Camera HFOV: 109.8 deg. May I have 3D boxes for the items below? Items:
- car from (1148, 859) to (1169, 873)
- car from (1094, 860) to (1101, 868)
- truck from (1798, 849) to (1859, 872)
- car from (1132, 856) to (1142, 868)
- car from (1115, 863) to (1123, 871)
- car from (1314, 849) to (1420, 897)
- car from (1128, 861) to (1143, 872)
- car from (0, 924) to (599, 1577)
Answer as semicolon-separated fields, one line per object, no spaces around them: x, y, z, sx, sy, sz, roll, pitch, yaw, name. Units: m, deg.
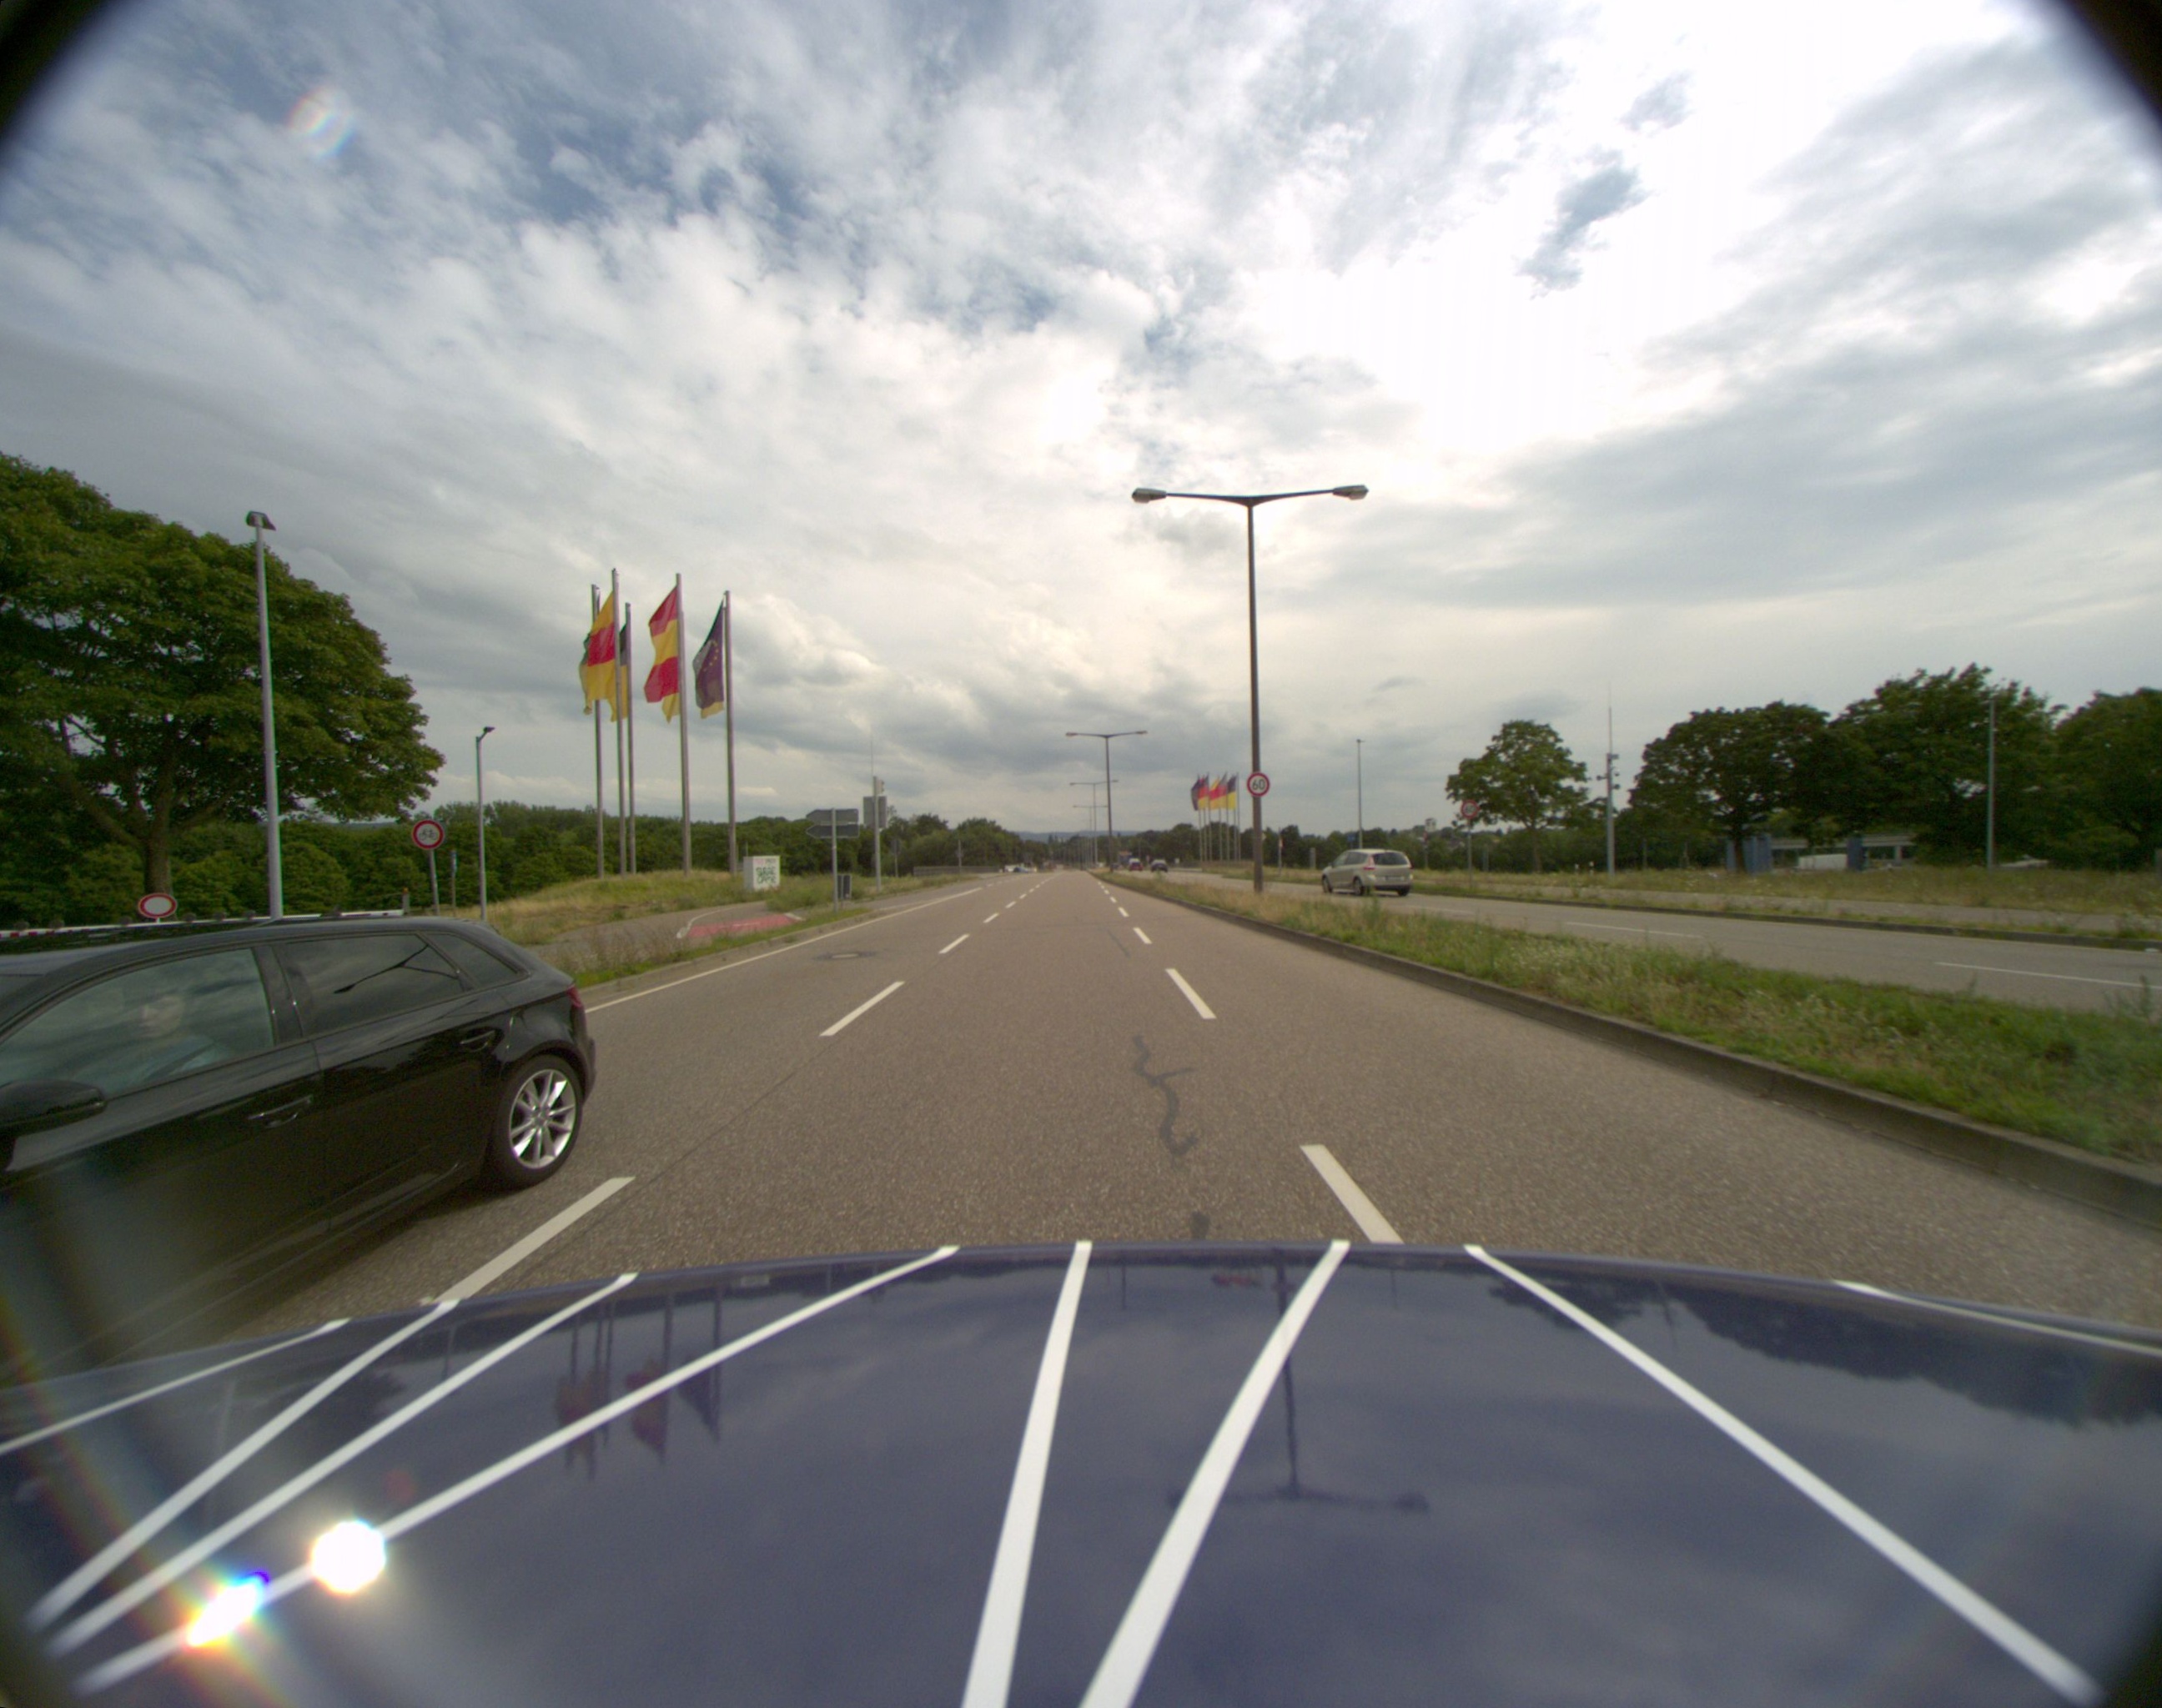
8.988;1.376;88.421;1.750;1.467;4.564;-1;-1;-2;car
3.581;2.291;169.302;1.544;1.860;3.571;0;-1;1;car
157.479;1.386;160.092;14.016;4.317;3.025;-2;0;-18;truck
11.762;1.714;159.860;2.057;2.627;6.403;0;-1;4;car
8.478;2.920;170.178;1.751;1.576;4.587;0;-1;1;car
10.199;0.650;27.511;1.750;1.589;4.563;-1;0;-5;car
7.934;1.792;110.923;1.656;1.565;4.337;1;-1;-2;car
-3.537;1.109;2.149;1.735;1.387;4.114;-3;0;-1;car
